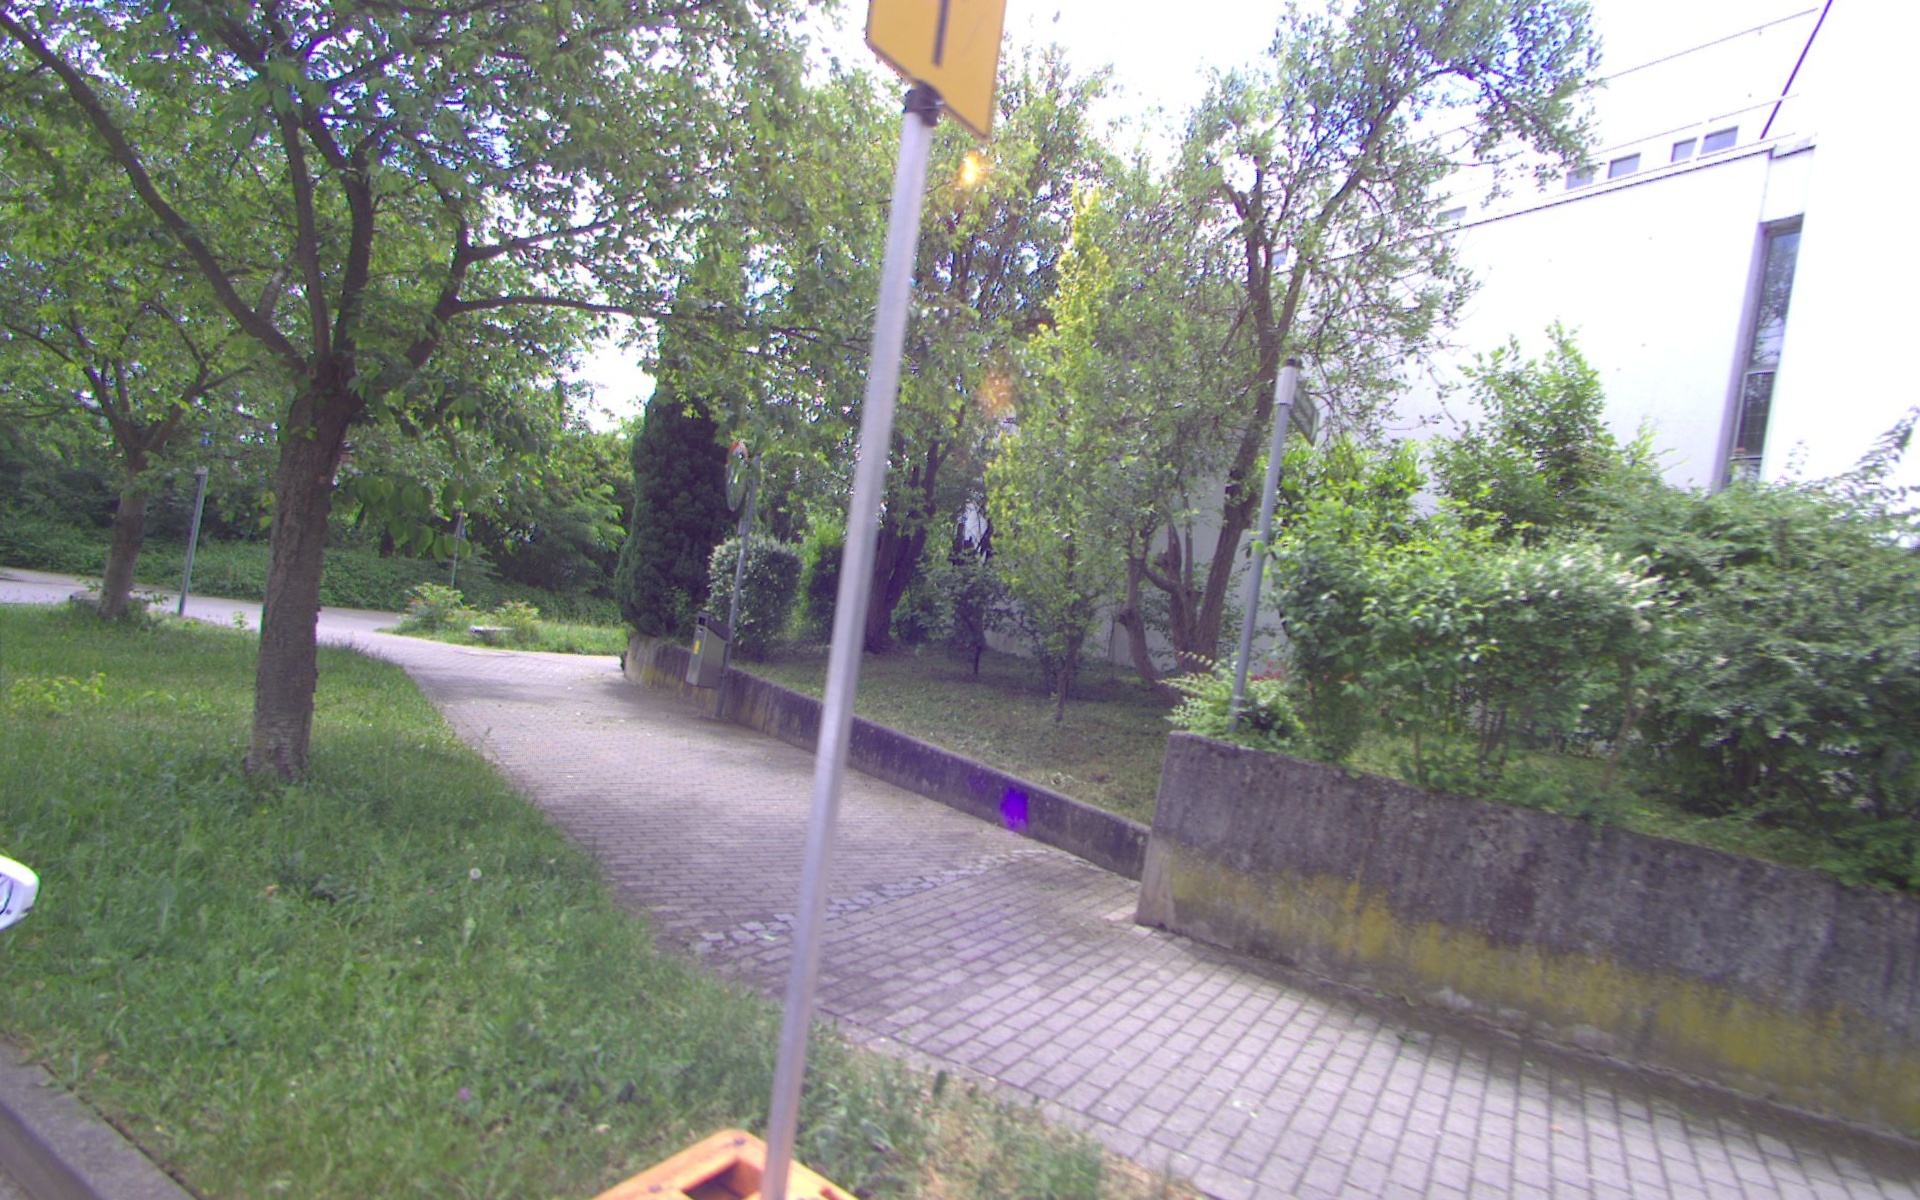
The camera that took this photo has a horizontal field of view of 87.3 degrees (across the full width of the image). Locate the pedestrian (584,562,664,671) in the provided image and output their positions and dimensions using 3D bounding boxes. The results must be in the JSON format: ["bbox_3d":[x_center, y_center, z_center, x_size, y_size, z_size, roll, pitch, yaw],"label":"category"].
[{"bbox_3d":[-5.801,0.300,17.390,0.772,1.757,0.834,6,-1,29],"label":"pedestrian"}]
